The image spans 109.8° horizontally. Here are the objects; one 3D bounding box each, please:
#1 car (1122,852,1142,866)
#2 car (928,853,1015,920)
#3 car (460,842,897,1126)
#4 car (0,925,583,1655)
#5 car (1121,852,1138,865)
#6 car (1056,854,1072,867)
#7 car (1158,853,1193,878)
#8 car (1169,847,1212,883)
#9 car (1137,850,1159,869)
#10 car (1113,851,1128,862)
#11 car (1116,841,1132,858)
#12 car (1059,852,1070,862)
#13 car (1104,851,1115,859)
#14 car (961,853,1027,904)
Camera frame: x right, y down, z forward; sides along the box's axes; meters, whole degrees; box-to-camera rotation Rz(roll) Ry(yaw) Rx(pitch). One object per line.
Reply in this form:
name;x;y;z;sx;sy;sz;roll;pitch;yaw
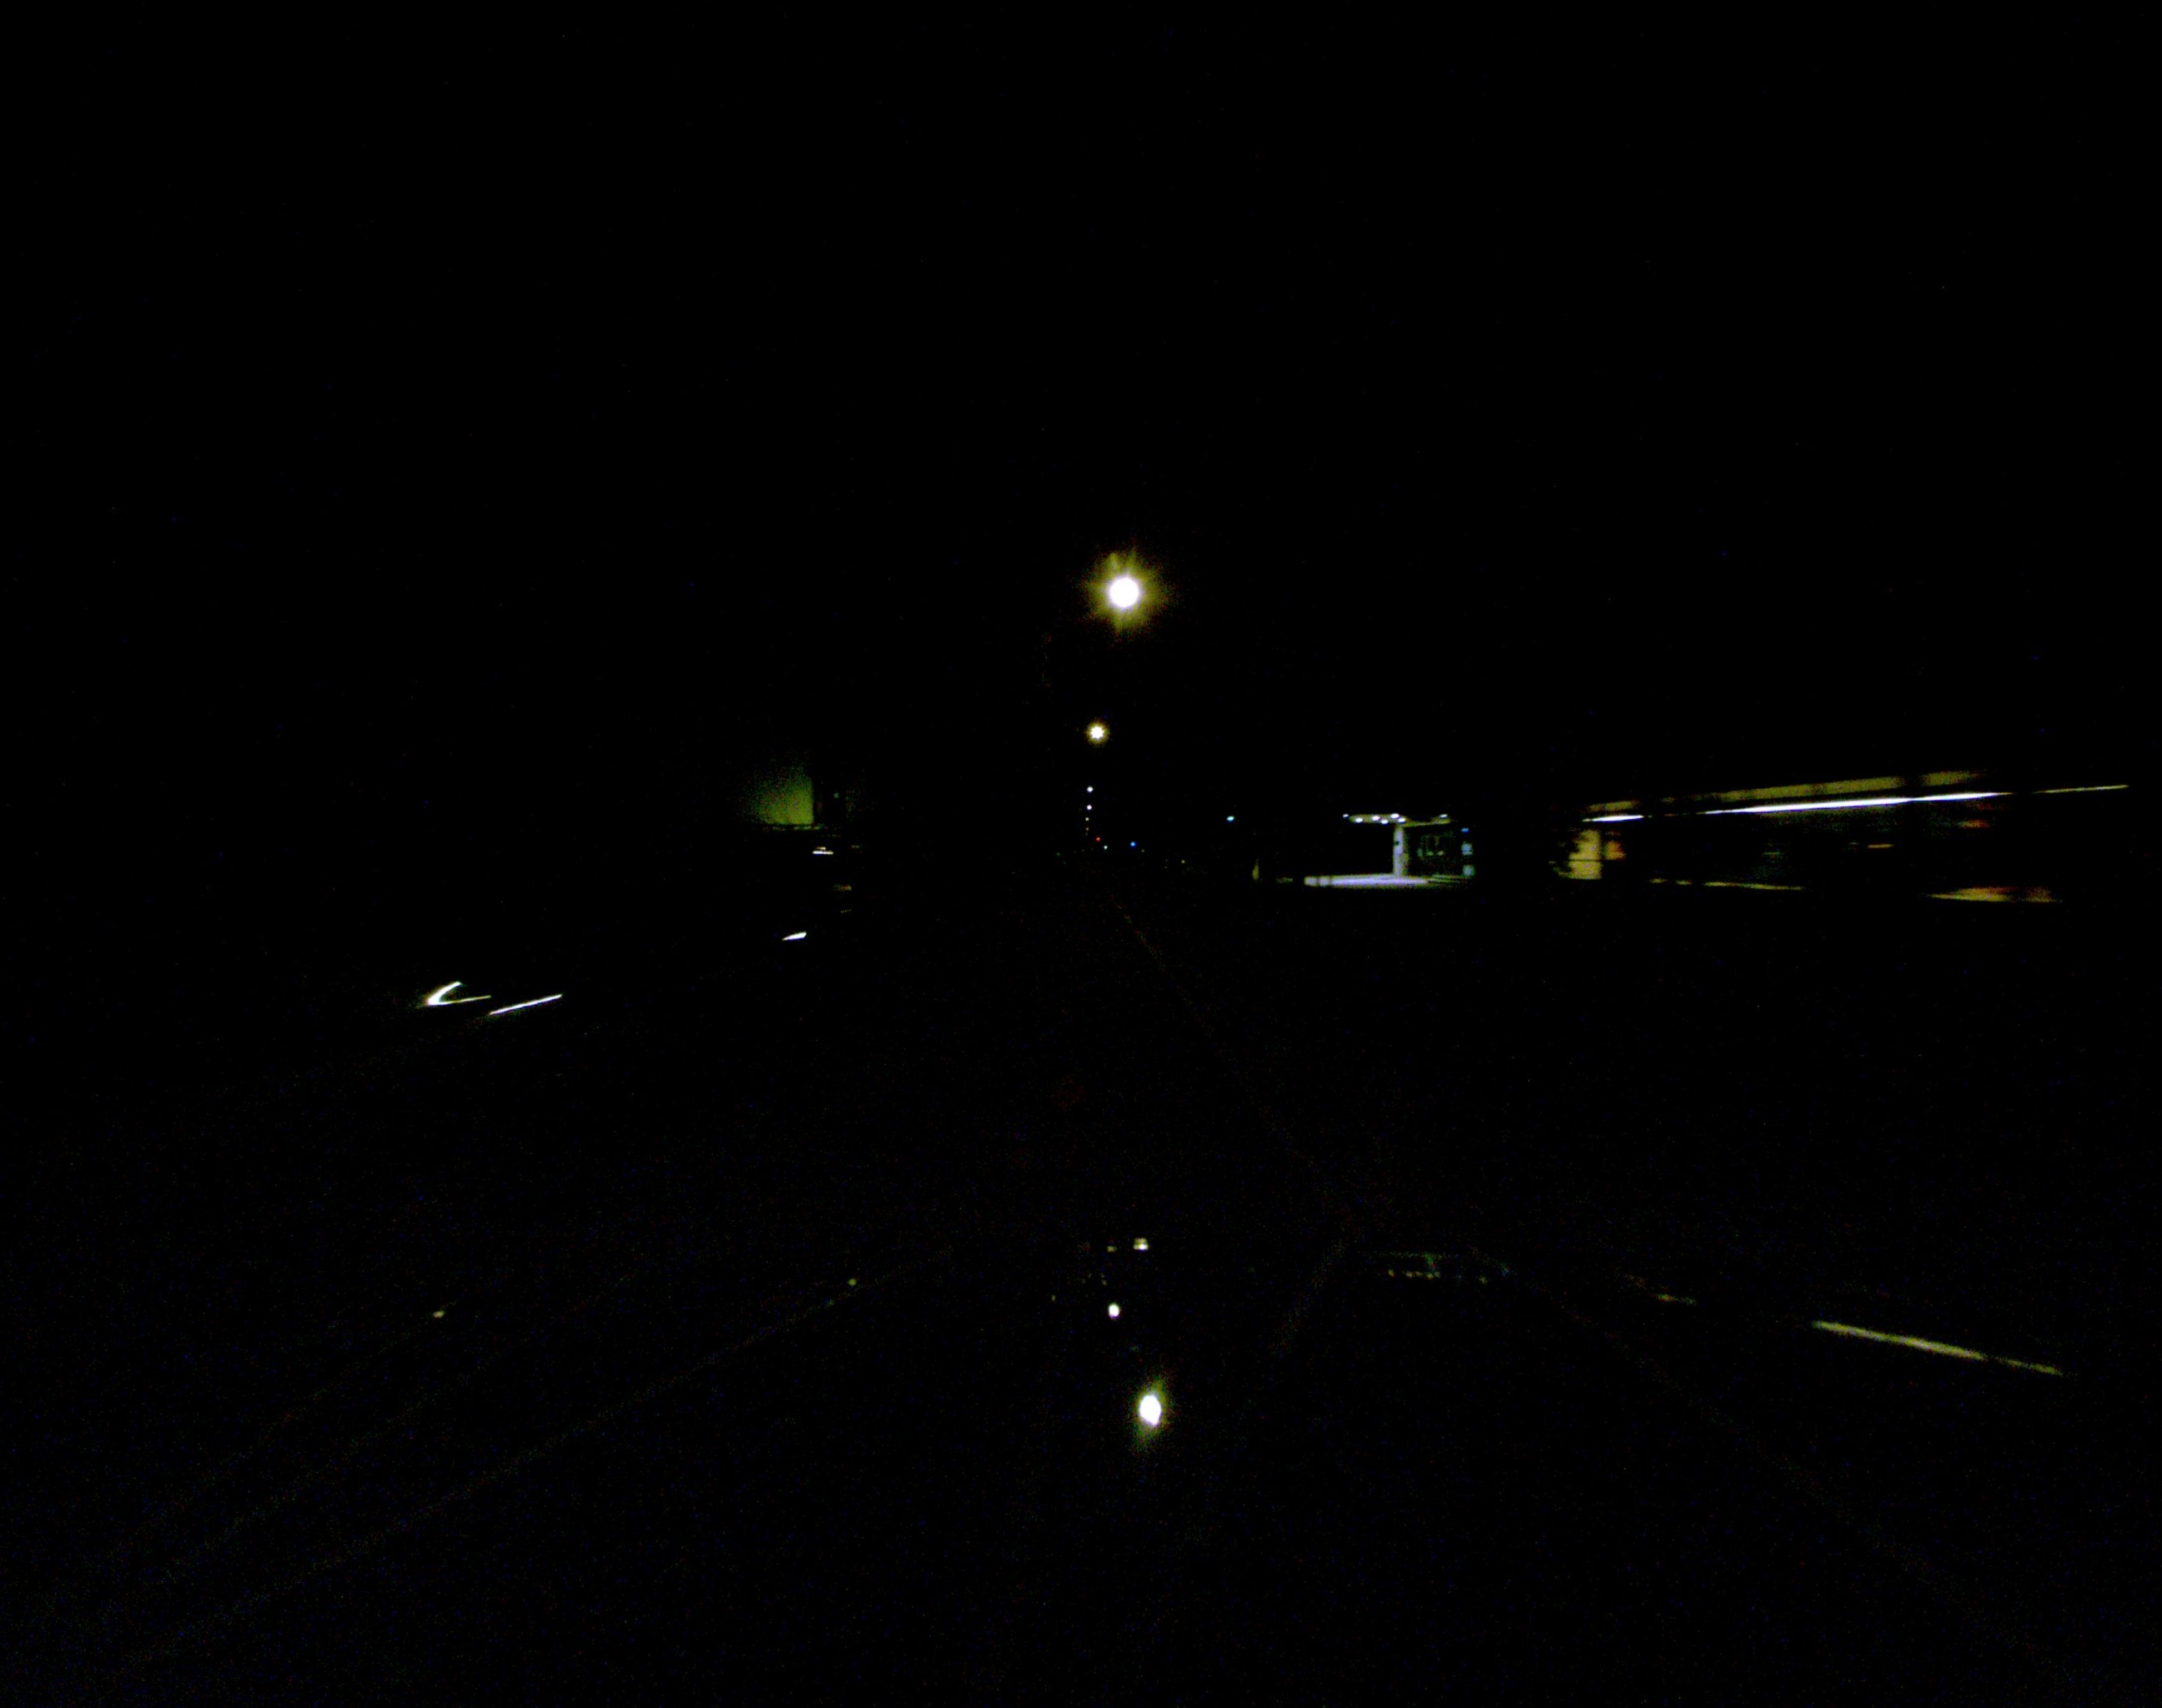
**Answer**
car;5.616;0.541;84.145;1.826;1.423;3.730;-2;0;-1
car;-2.952;0.823;21.204;1.934;1.655;3.773;1;0;-1
car;-3.050;0.815;6.974;1.781;1.762;4.421;1;0;-2
car;-3.204;1.024;1.227;1.780;1.351;4.423;1;0;2
car;5.889;0.509;92.720;1.826;1.423;3.730;-2;0;-1
car;-2.069;0.746;93.084;1.826;1.423;3.730;-2;0;-1
car;5.860;0.692;47.444;1.826;1.423;3.731;-2;0;2
car;5.940;0.547;41.585;1.882;1.798;3.731;-2;0;2
car;6.072;0.488;69.371;1.826;1.637;3.731;-2;0;2
car;5.343;0.324;102.778;1.826;1.423;3.730;-2;0;-1
car;6.493;-0.642;114.198;2.005;2.493;4.953;-2;0;-1
car;-2.665;0.496;123.761;1.826;1.423;3.730;-2;0;-1
car;5.374;0.118;142.888;1.826;1.423;3.730;-2;0;-1
car;-3.046;0.813;27.349;1.934;1.655;4.093;1;0;-1
